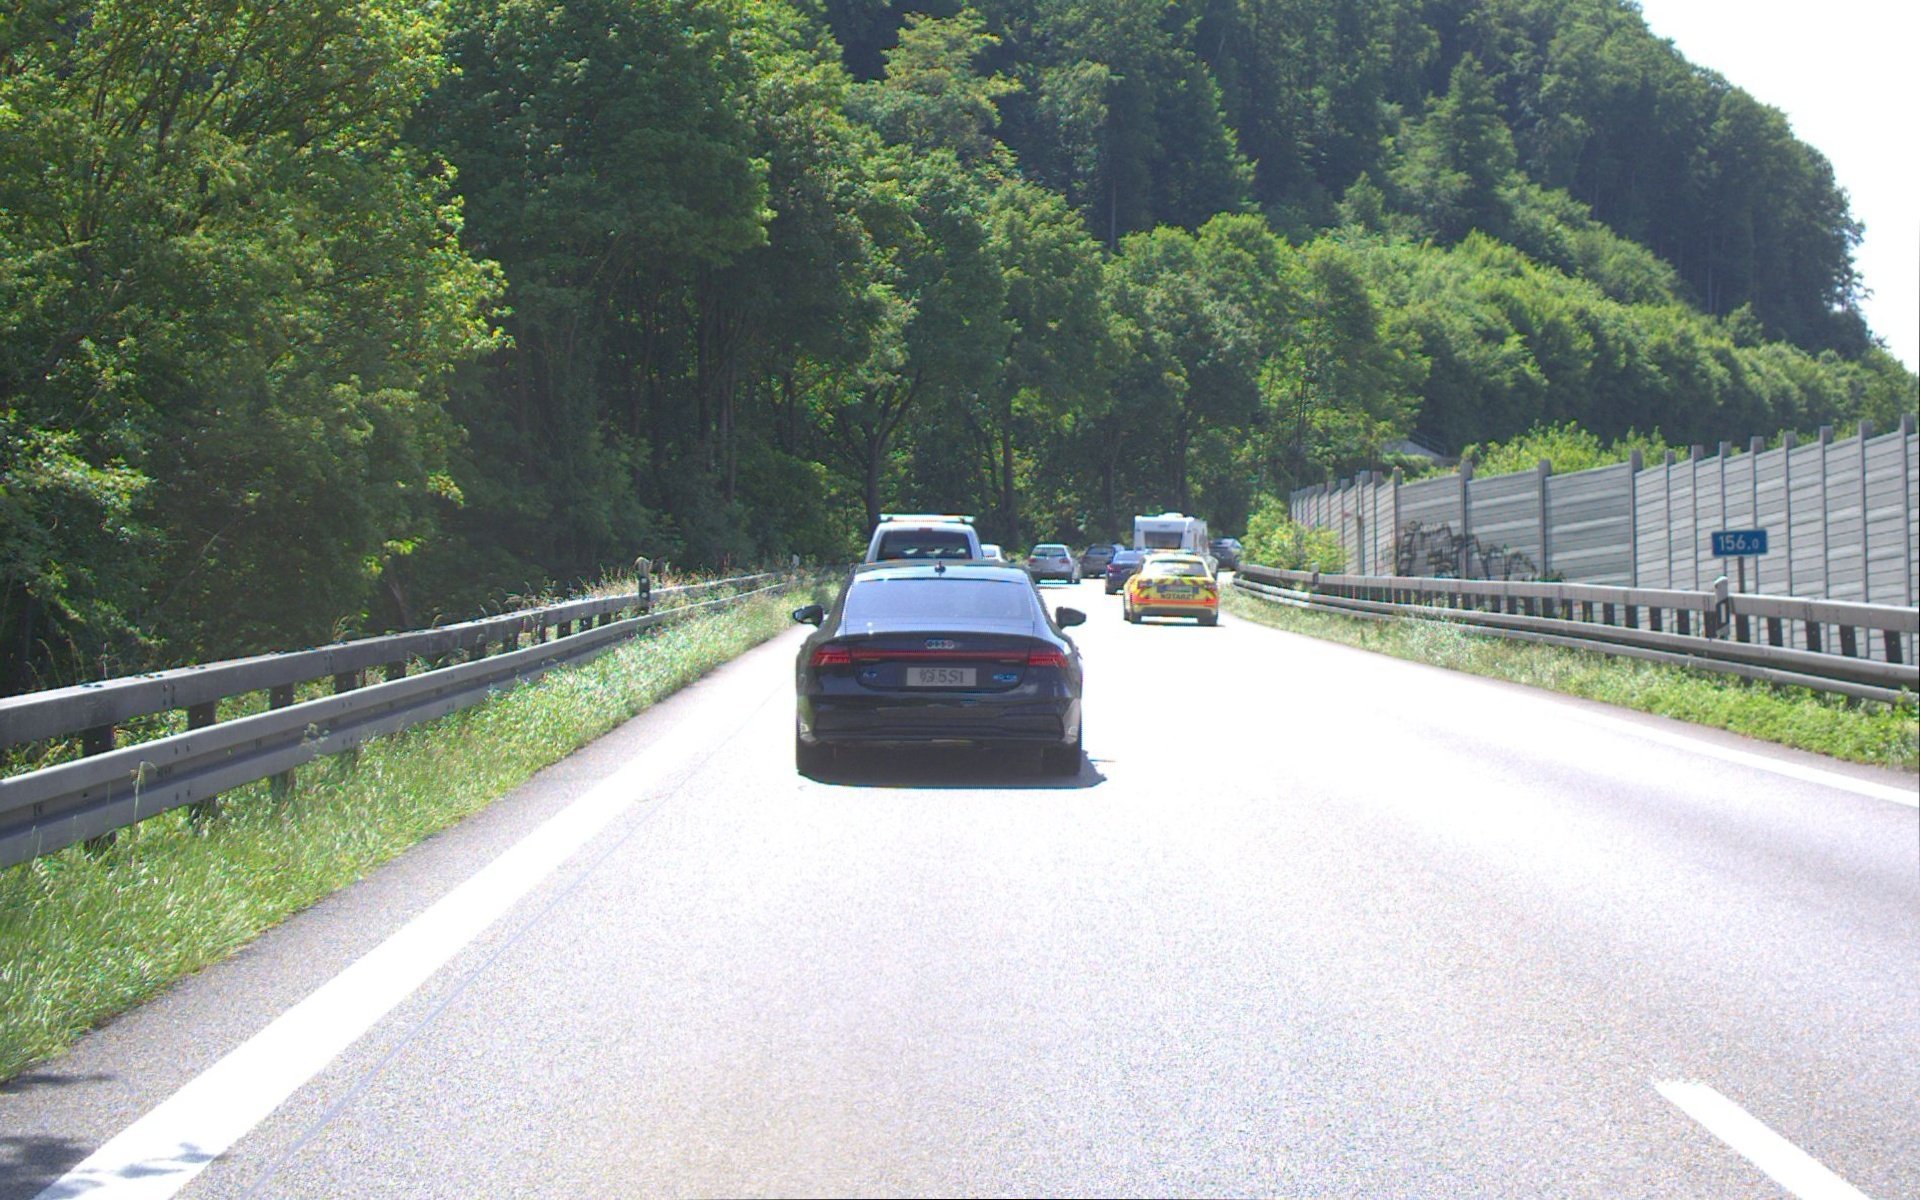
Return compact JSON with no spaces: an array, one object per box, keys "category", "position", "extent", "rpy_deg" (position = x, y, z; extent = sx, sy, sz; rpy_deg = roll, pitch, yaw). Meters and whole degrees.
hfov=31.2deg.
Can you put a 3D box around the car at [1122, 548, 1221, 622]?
[{"category":"car","position":[4.378,-0.327,71.601],"extent":[1.863,1.483,4.000],"rpy_deg":[0,1,1]}]

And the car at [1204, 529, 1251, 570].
[{"category":"car","position":[13.334,-2.519,171.152],"extent":[1.994,2.007,3.998],"rpy_deg":[0,0,9]}]

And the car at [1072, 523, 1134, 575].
[{"category":"car","position":[4.610,-1.641,111.306],"extent":[1.773,1.631,4.000],"rpy_deg":[1,0,-1]}]

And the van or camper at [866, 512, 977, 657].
[{"category":"van or camper","position":[-0.495,-0.211,45.255],"extent":[1.391,1.809,4.000],"rpy_deg":[0,0,0]}]

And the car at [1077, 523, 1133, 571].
[{"category":"car","position":[6.198,-2.262,146.944],"extent":[1.994,2.007,3.999],"rpy_deg":[0,0,8]}]

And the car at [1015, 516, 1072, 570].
[{"category":"car","position":[3.177,-2.133,130.112],"extent":[1.994,2.007,4.000],"rpy_deg":[0,0,4]}]

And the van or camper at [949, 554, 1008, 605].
[{"category":"van or camper","position":[0.593,-0.635,106.189],"extent":[1.558,1.528,3.505],"rpy_deg":[0,0,5]}]

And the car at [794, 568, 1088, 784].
[{"category":"car","position":[-0.131,0.460,23.573],"extent":[1.837,1.345,4.000],"rpy_deg":[0,0,0]}]

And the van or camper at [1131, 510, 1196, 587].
[{"category":"van or camper","position":[7.960,-1.999,134.252],"extent":[2.456,2.908,6.125],"rpy_deg":[0,0,4]}]
